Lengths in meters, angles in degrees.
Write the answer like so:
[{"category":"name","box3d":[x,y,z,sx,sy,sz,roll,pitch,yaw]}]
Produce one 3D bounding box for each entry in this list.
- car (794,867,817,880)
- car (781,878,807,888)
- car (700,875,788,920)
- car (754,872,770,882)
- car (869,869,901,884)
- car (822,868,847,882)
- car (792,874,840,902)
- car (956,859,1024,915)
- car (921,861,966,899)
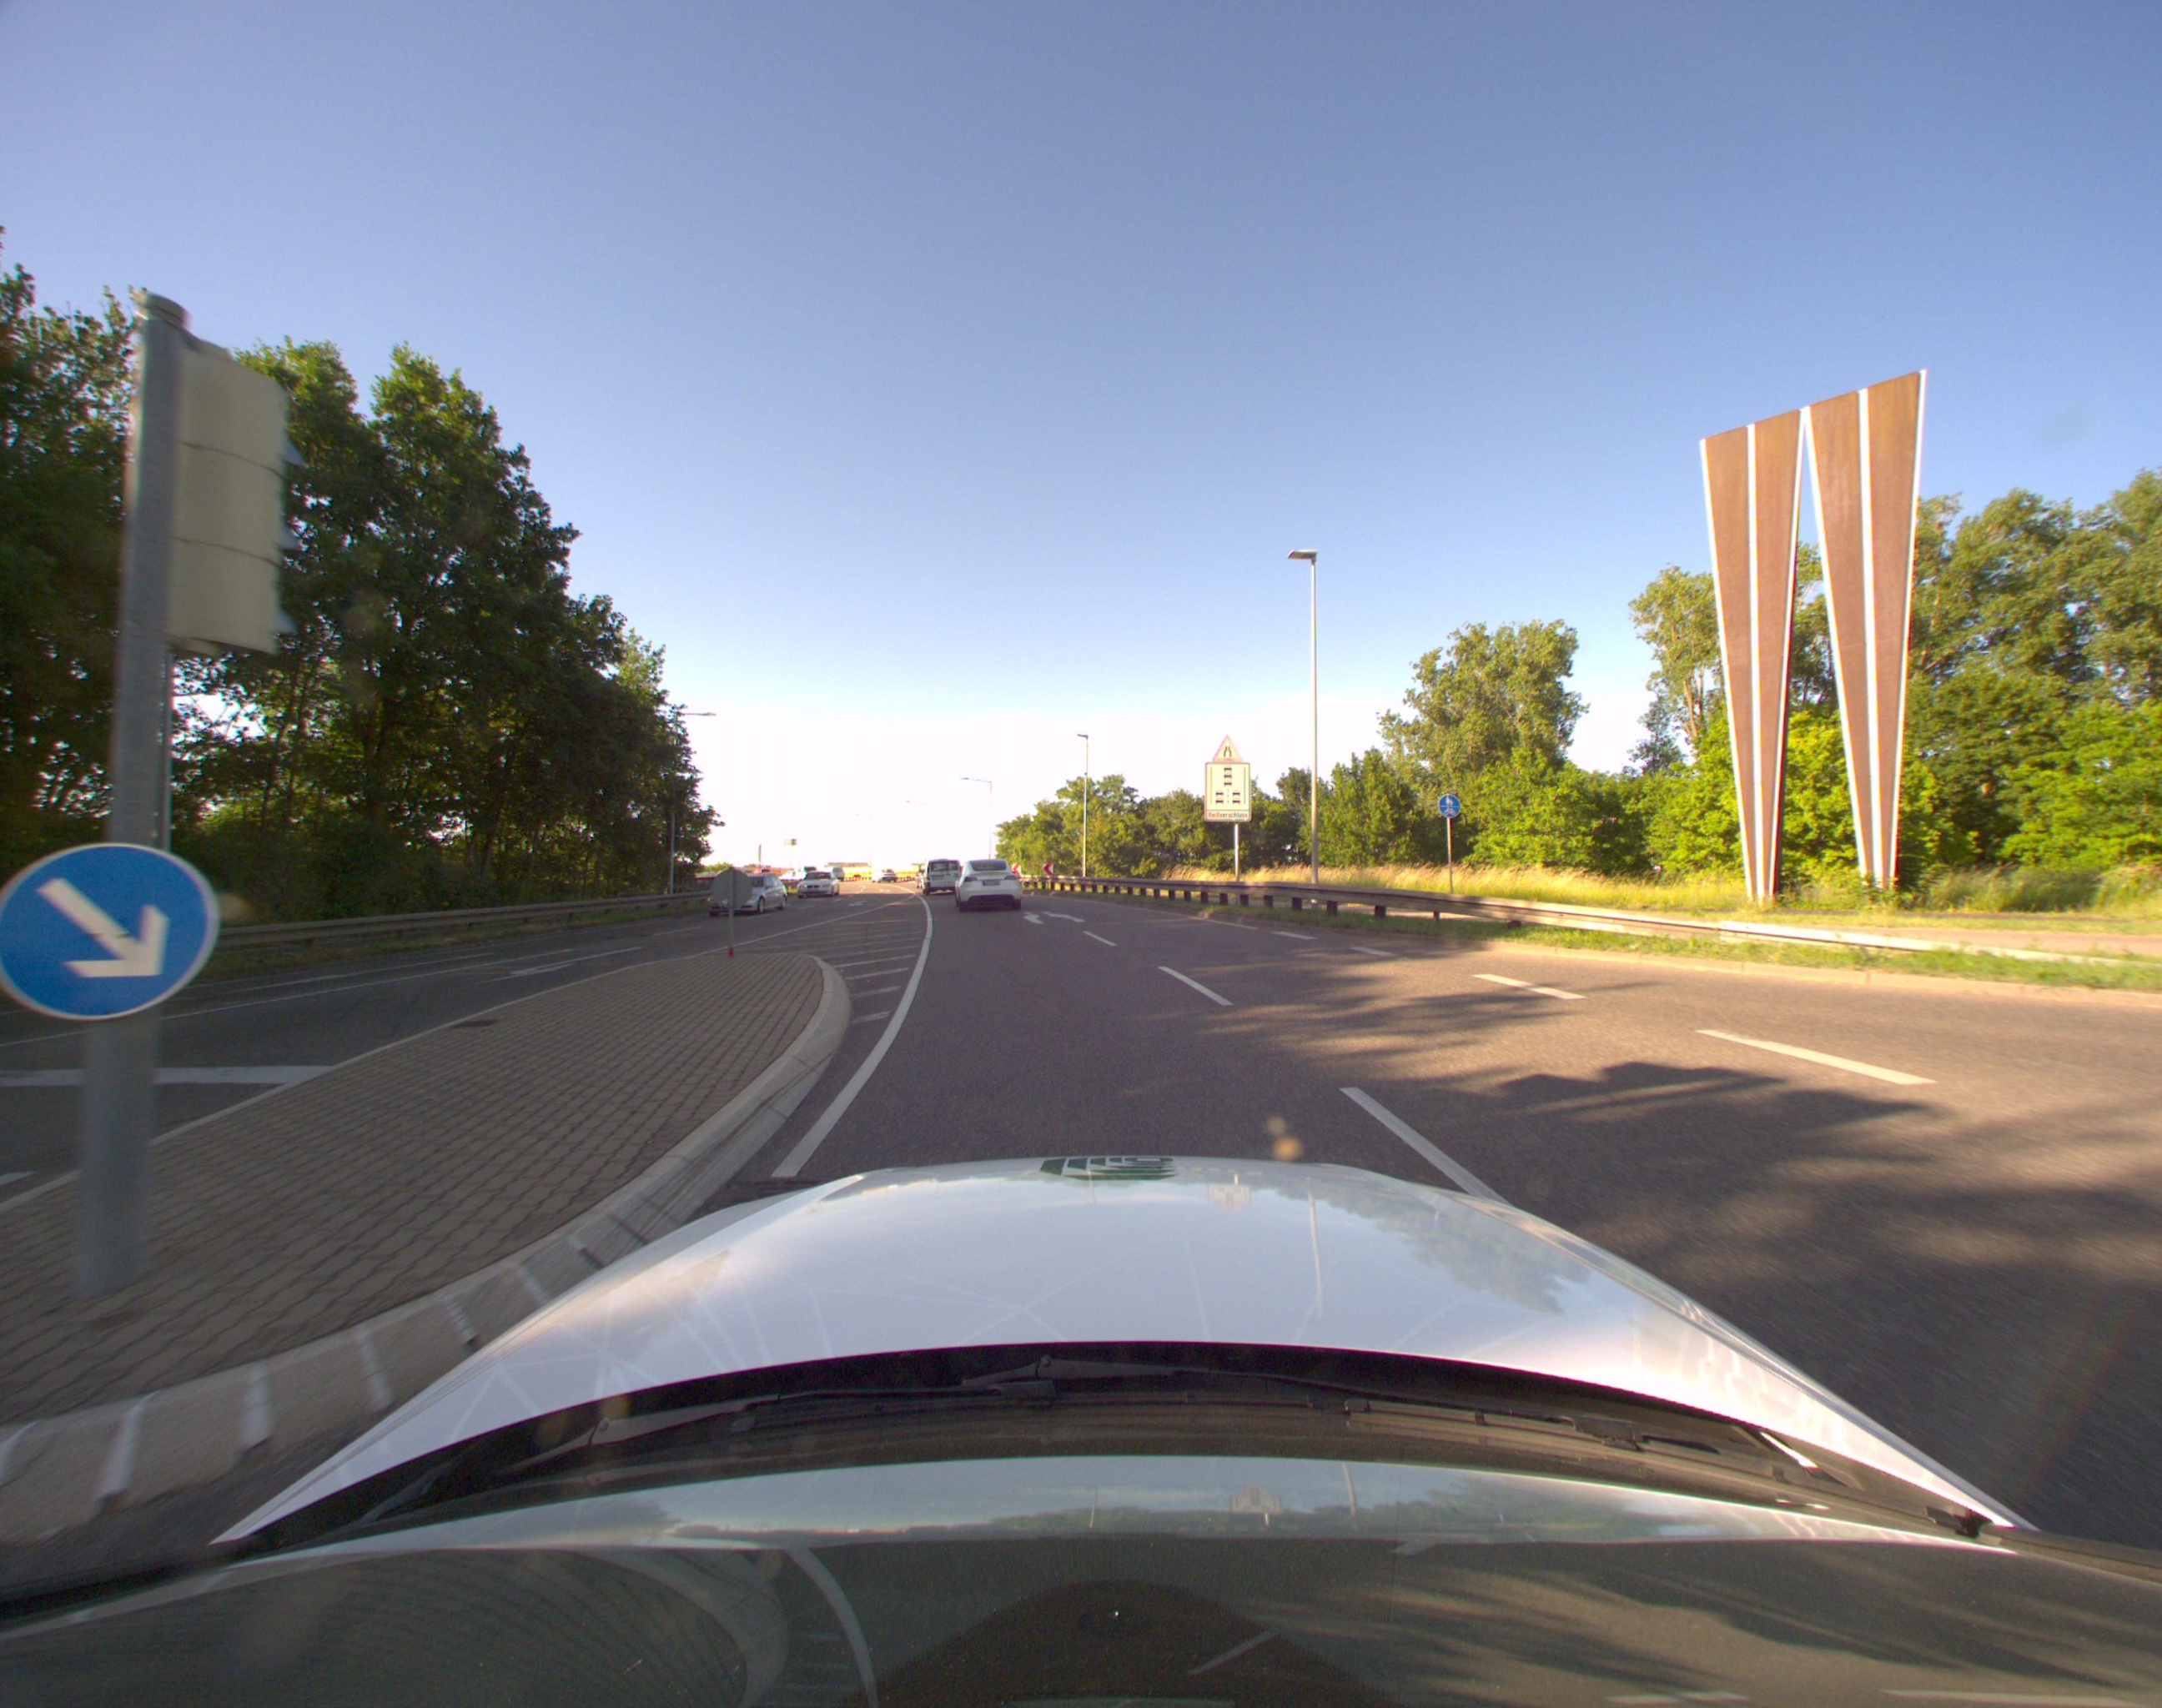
[{"category":"car","box3d":[-32.637,2.302,96.440,1.625,1.510,3.518,0,-1,-37]},{"category":"car","box3d":[-40.506,4.077,114.817,2.284,1.508,3.954,1,-2,-39]},{"category":"car","box3d":[-12.071,1.517,29.458,1.866,1.474,3.902,0,-1,-5]},{"category":"car","box3d":[-49.052,3.478,125.103,1.416,1.452,3.312,0,-1,-38]},{"category":"car","box3d":[-19.957,2.248,82.774,1.982,1.474,4.113,0,-1,-31]},{"category":"car","box3d":[-30.882,2.606,101.921,1.983,1.699,3.958,0,-1,-33]},{"category":"car","box3d":[-14.659,1.849,45.281,2.098,1.391,4.391,0,-1,-13]},{"category":"car","box3d":[-3.049,1.034,26.541,1.993,1.640,4.114,0,-1,-10]},{"category":"car","box3d":[-7.285,1.326,42.834,1.996,1.880,4.228,0,-1,-14]}]
